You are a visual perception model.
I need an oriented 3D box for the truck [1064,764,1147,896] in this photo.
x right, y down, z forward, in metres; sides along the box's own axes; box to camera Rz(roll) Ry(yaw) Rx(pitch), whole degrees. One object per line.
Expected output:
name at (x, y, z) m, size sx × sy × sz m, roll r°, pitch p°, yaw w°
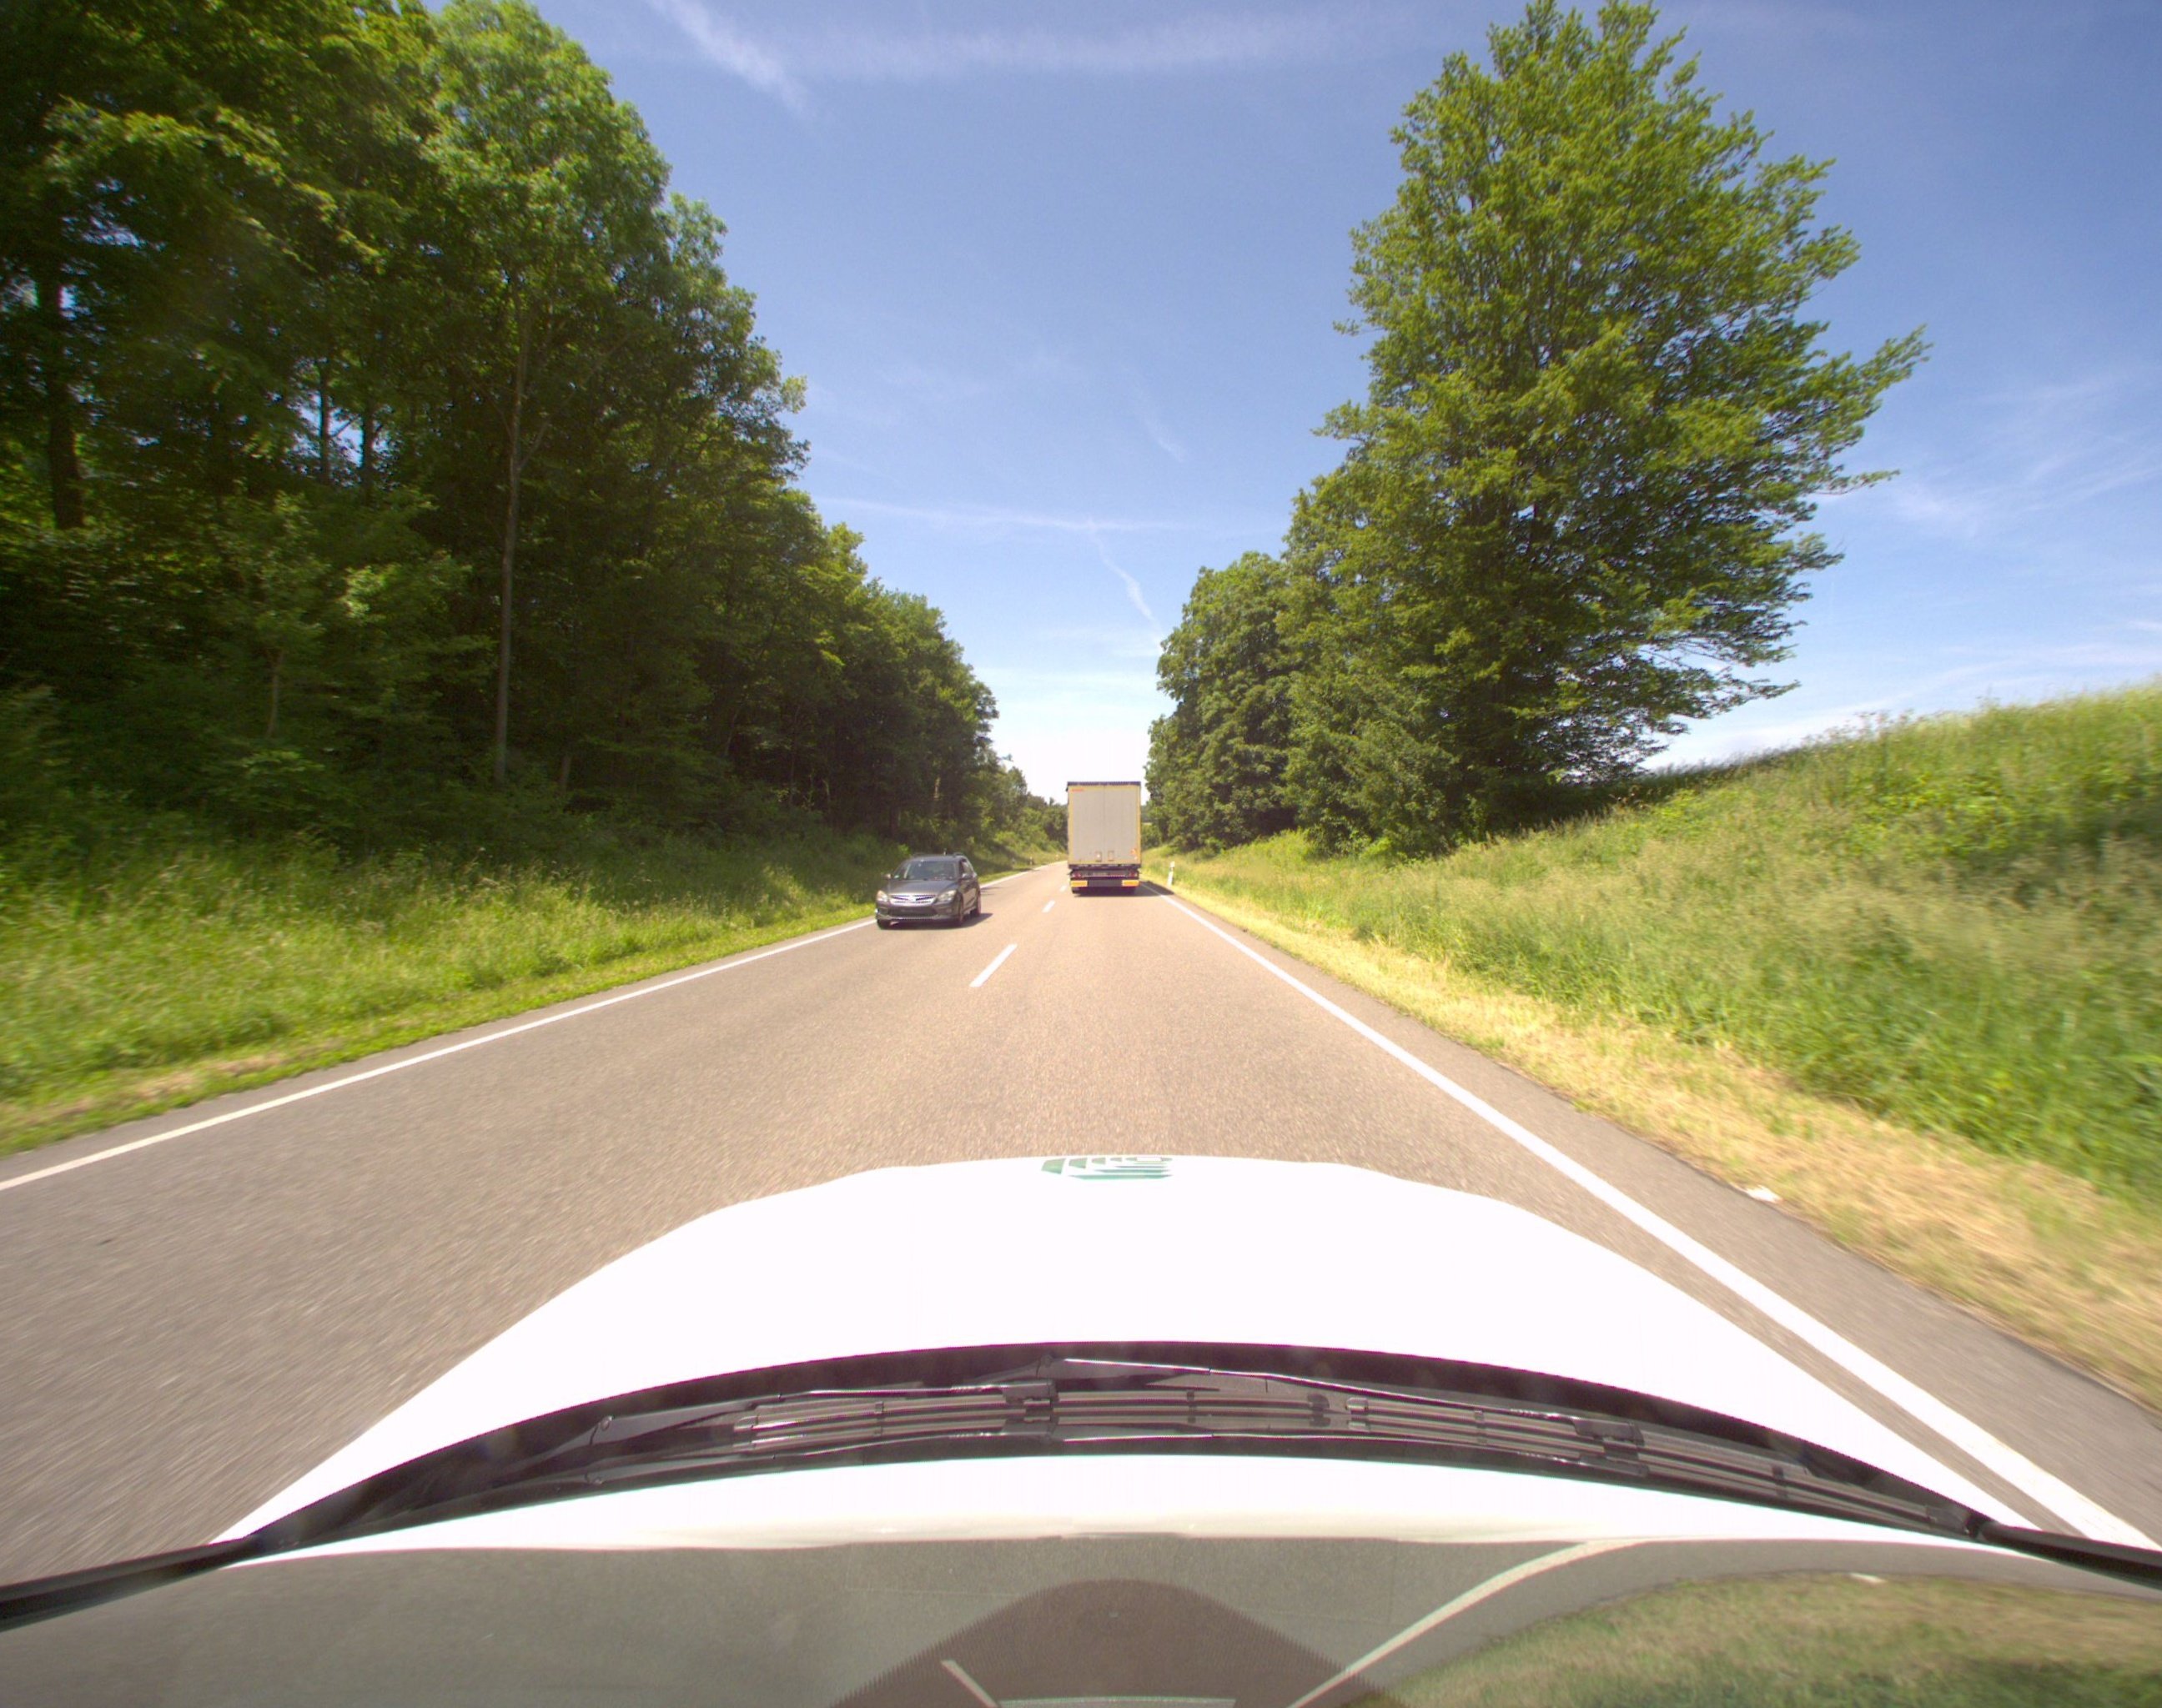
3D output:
truck at (0.929, -0.839, 33.905) m, size 2.808 × 4.532 × 11.769 m, roll -1°, pitch 0°, yaw 1°

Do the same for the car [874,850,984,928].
car at (-3.337, 0.704, 18.667) m, size 1.766 × 1.570 × 4.216 m, roll -1°, pitch 0°, yaw -1°
